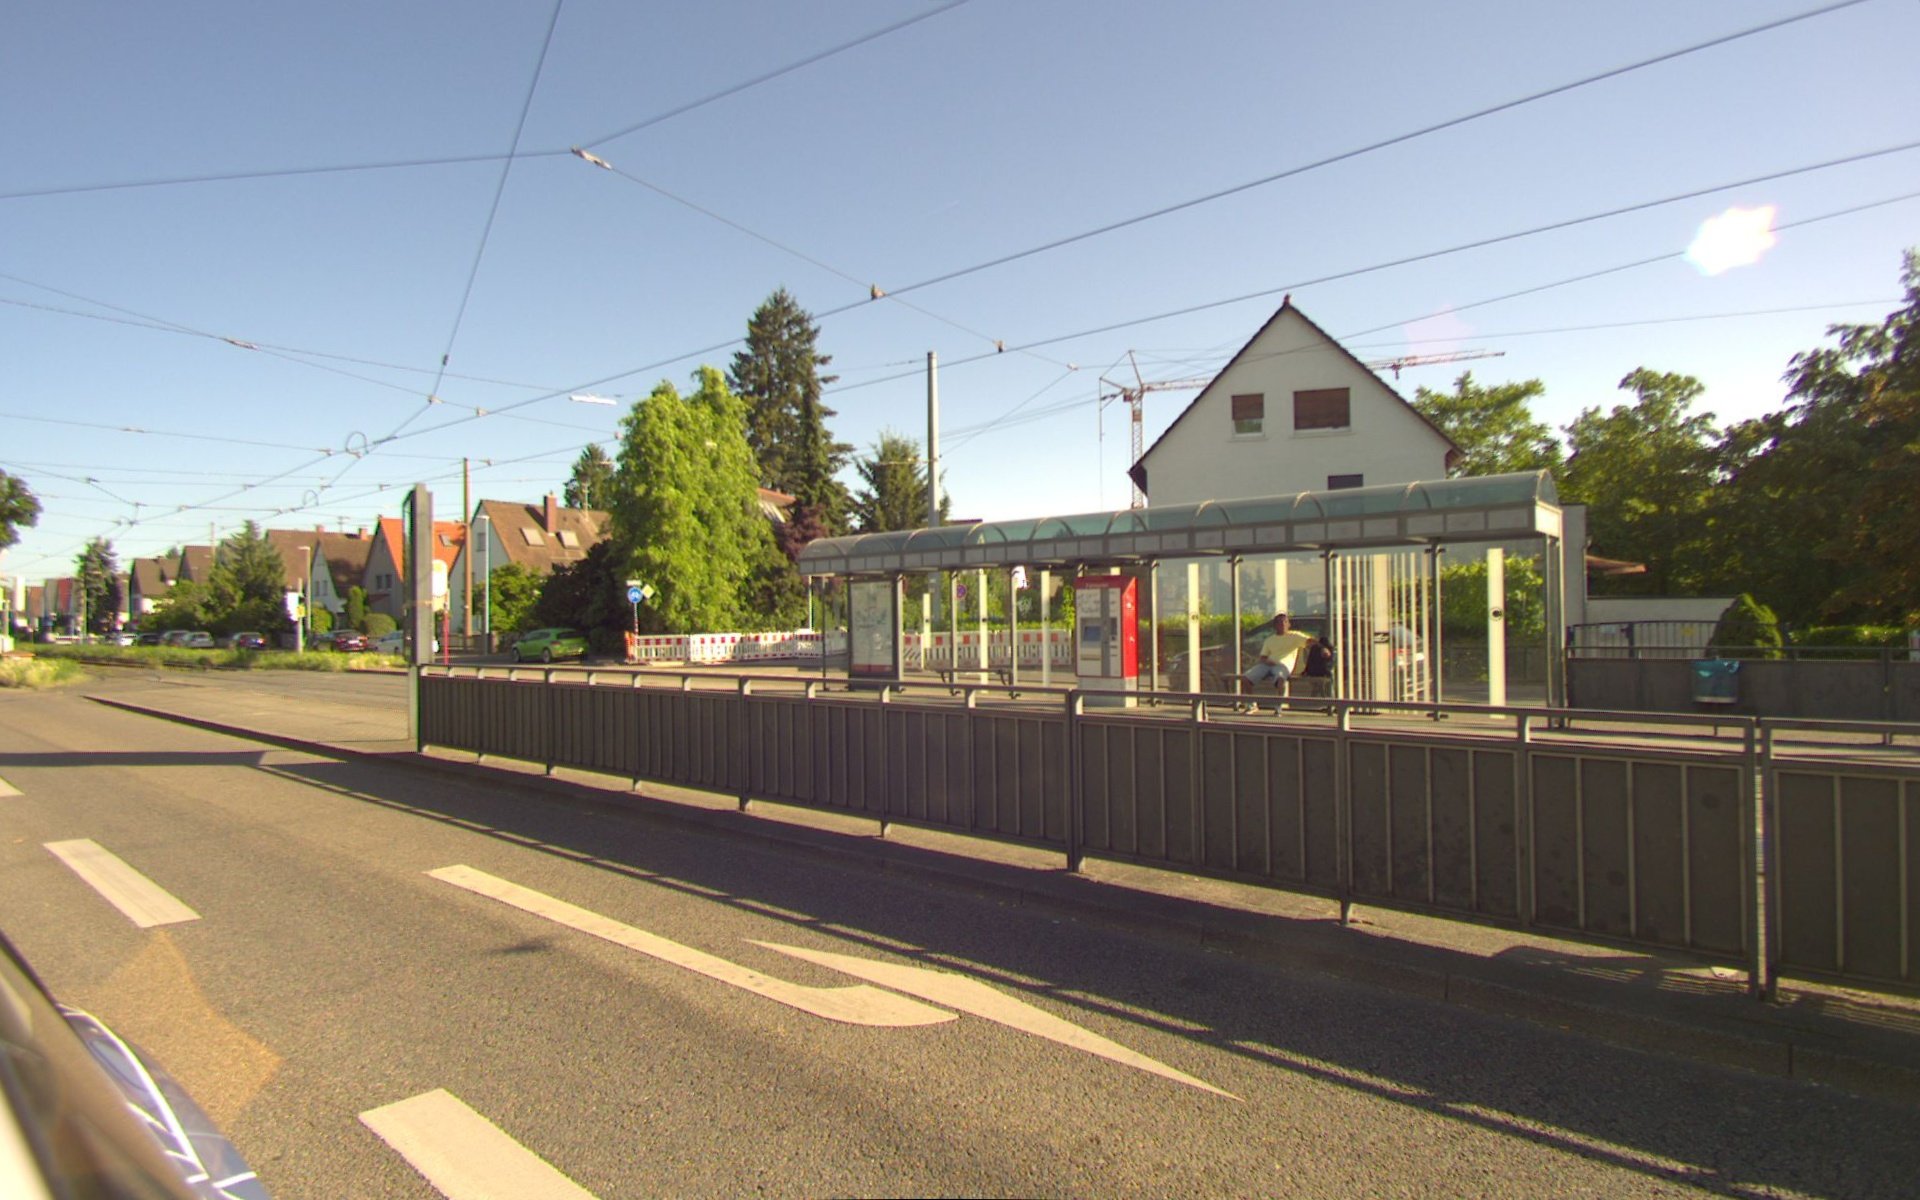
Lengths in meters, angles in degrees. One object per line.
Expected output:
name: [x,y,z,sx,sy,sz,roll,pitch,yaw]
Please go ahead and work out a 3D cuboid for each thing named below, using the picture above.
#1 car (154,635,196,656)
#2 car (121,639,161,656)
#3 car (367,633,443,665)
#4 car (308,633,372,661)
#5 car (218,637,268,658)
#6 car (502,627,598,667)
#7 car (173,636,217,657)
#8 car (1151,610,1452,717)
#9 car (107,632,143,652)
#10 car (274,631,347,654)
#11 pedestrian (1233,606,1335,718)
car: [-64.829,3.763,83.575,4.534,1.573,1.864,-2,0,41]
car: [-73.774,4.252,91.093,4.980,1.351,1.973,-2,0,41]
car: [-28.693,2.504,52.280,4.610,1.483,1.865,-2,0,40]
car: [-35.979,2.686,58.704,4.438,1.477,1.887,-2,0,41]
car: [-50.363,3.297,71.064,4.308,1.382,1.972,-2,-2,42]
car: [-17.364,1.963,42.816,4.063,1.512,1.975,-2,0,38]
car: [-60.841,3.691,80.469,4.837,1.483,1.864,-2,0,42]
car: [5.493,0.988,16.618,4.341,1.532,1.717,-2,-2,41]
car: [-80.201,4.024,97.209,4.582,1.877,1.973,-2,-2,41]
car: [-50.781,3.323,79.178,1.746,1.481,4.433,-2,1,39]
pedestrian: [4.451,0.828,13.903,1.006,1.464,1.050,-2,-2,40]
